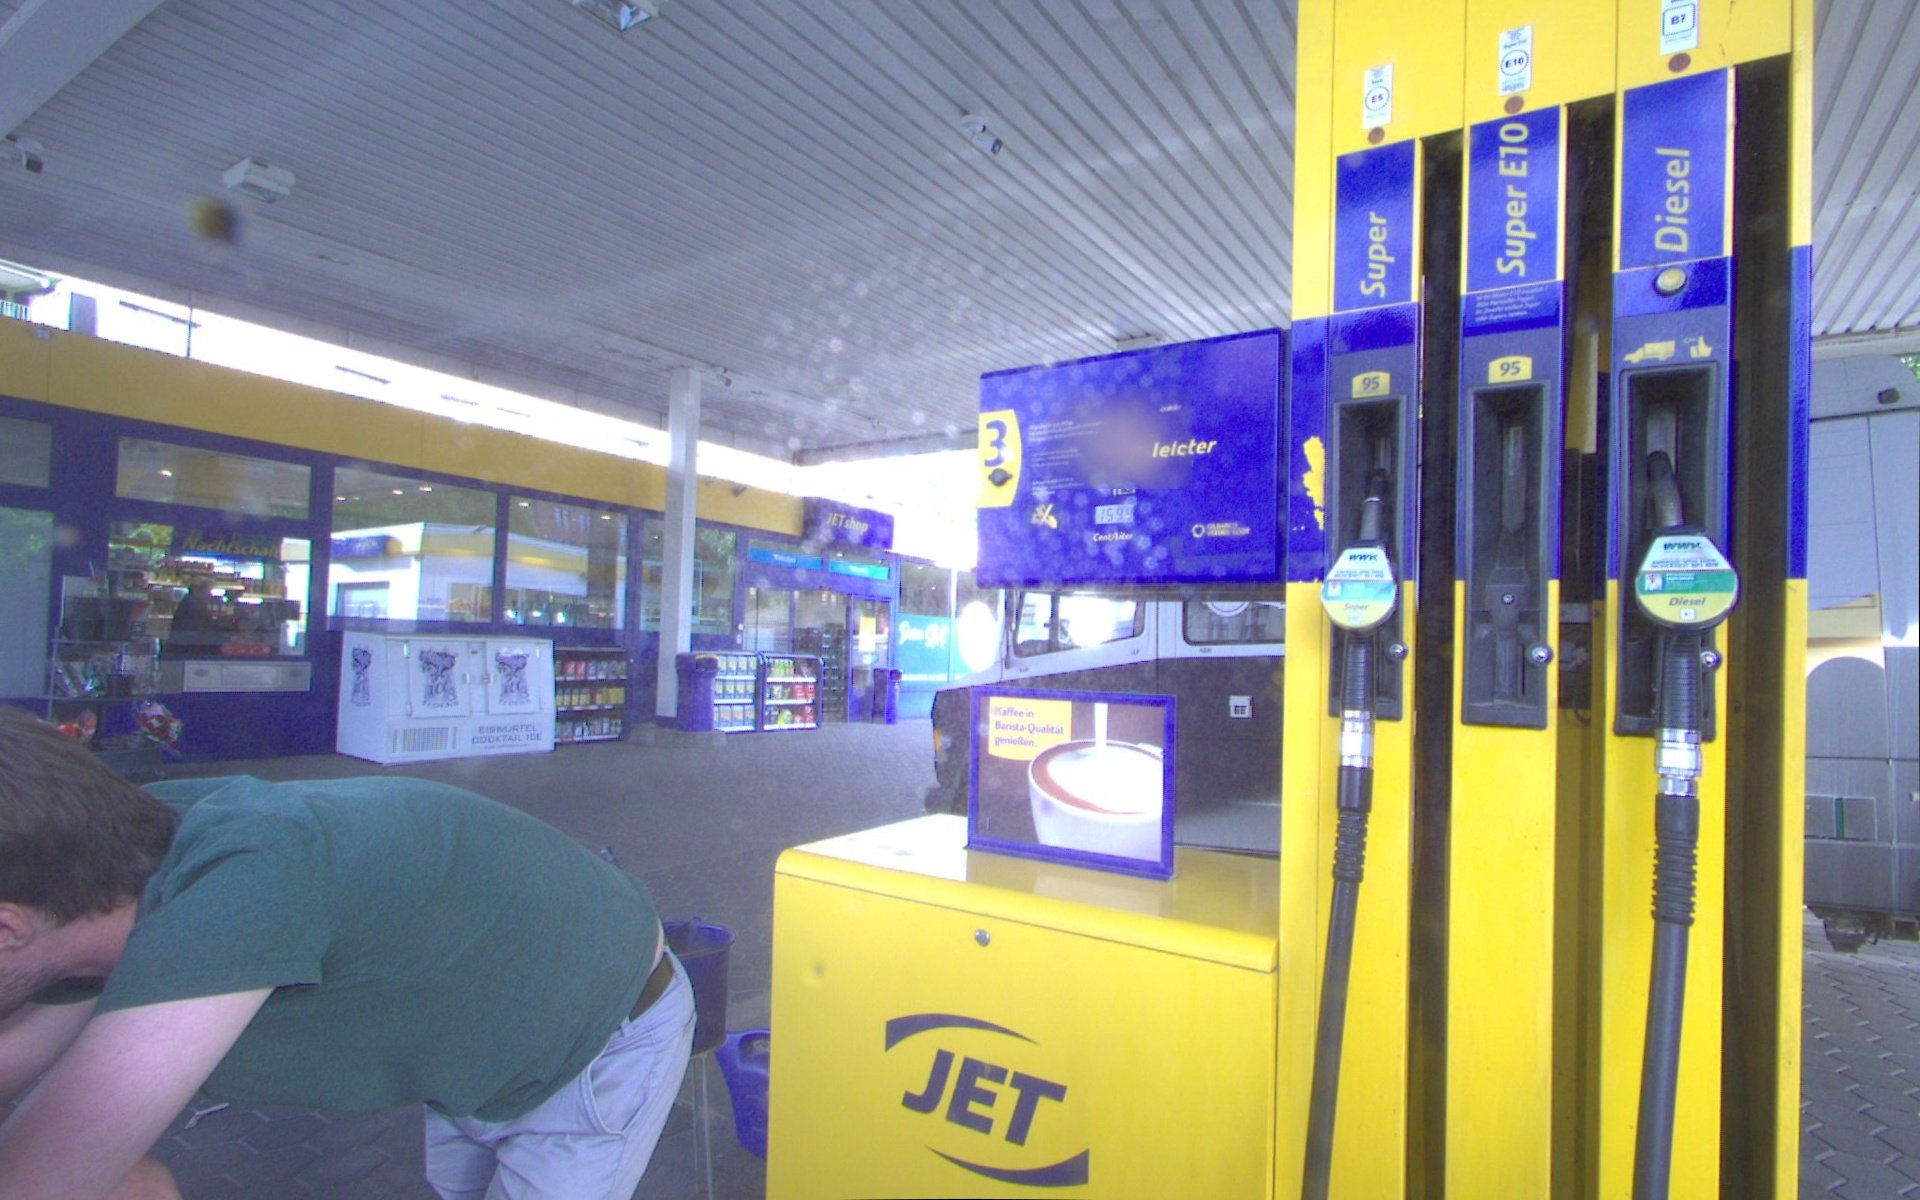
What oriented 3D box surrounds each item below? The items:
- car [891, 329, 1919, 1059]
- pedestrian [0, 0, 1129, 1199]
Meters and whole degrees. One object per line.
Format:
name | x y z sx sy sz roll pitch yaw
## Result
car | 2.347 0.434 6.003 5.271 2.759 2.193 -1 -3 34
pedestrian | -0.525 0.577 1.086 0.981 1.750 1.175 -2 -2 36
